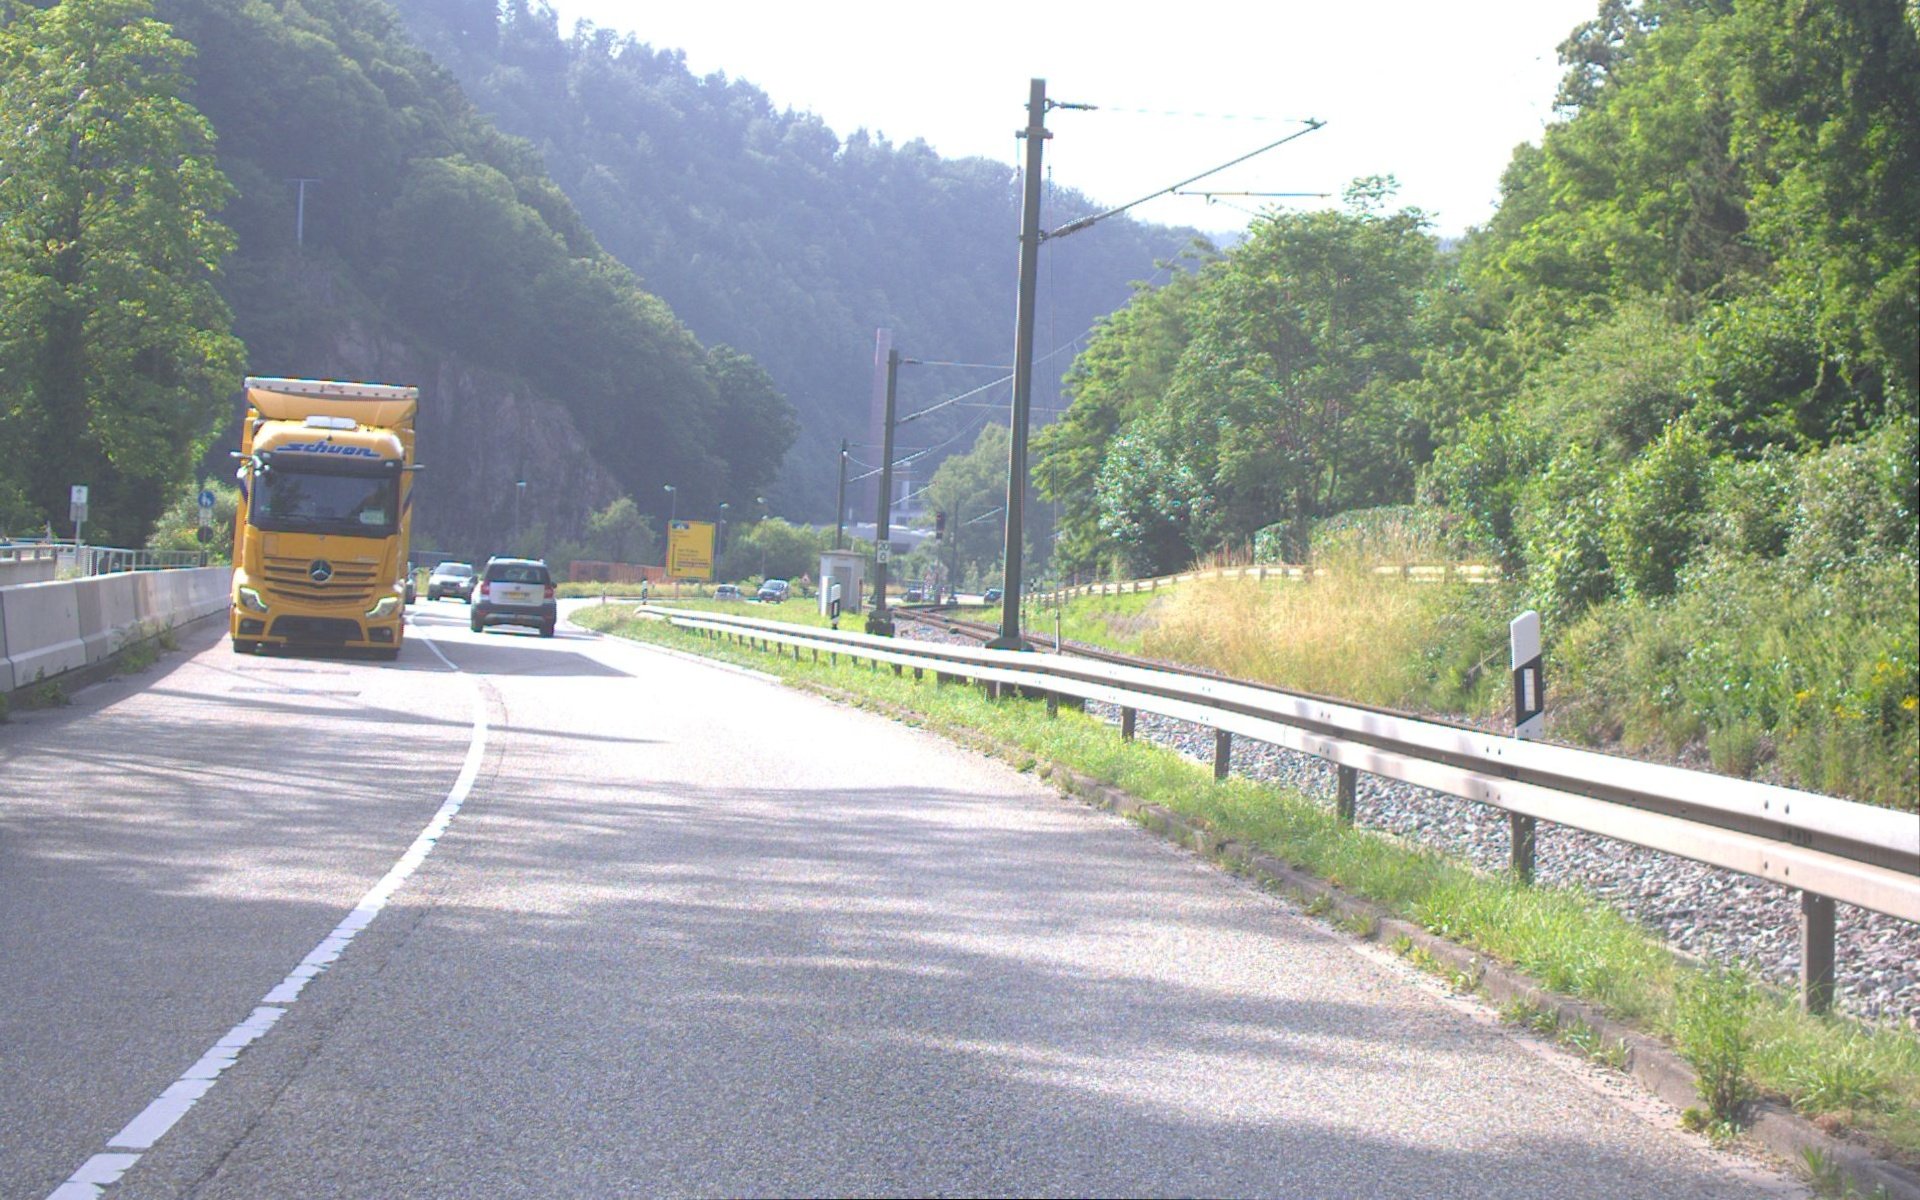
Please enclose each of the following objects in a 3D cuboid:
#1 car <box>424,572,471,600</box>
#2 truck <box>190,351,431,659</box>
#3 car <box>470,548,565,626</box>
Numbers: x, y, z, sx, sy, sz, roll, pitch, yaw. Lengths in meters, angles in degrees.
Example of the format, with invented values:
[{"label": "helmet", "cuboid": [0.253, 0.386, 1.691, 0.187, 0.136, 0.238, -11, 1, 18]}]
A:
[{"label": "car", "cuboid": [-21.851, -0.612, 146.657, 1.472, 1.081, 3.273, 4, 0, -1]}, {"label": "truck", "cuboid": [-10.570, -1.317, 55.298, 3.368, 4.368, 12.712, 0, 0, -12]}, {"label": "car", "cuboid": [-9.751, -0.286, 75.521, 1.872, 1.650, 4.001, 1, 0, -10]}]
